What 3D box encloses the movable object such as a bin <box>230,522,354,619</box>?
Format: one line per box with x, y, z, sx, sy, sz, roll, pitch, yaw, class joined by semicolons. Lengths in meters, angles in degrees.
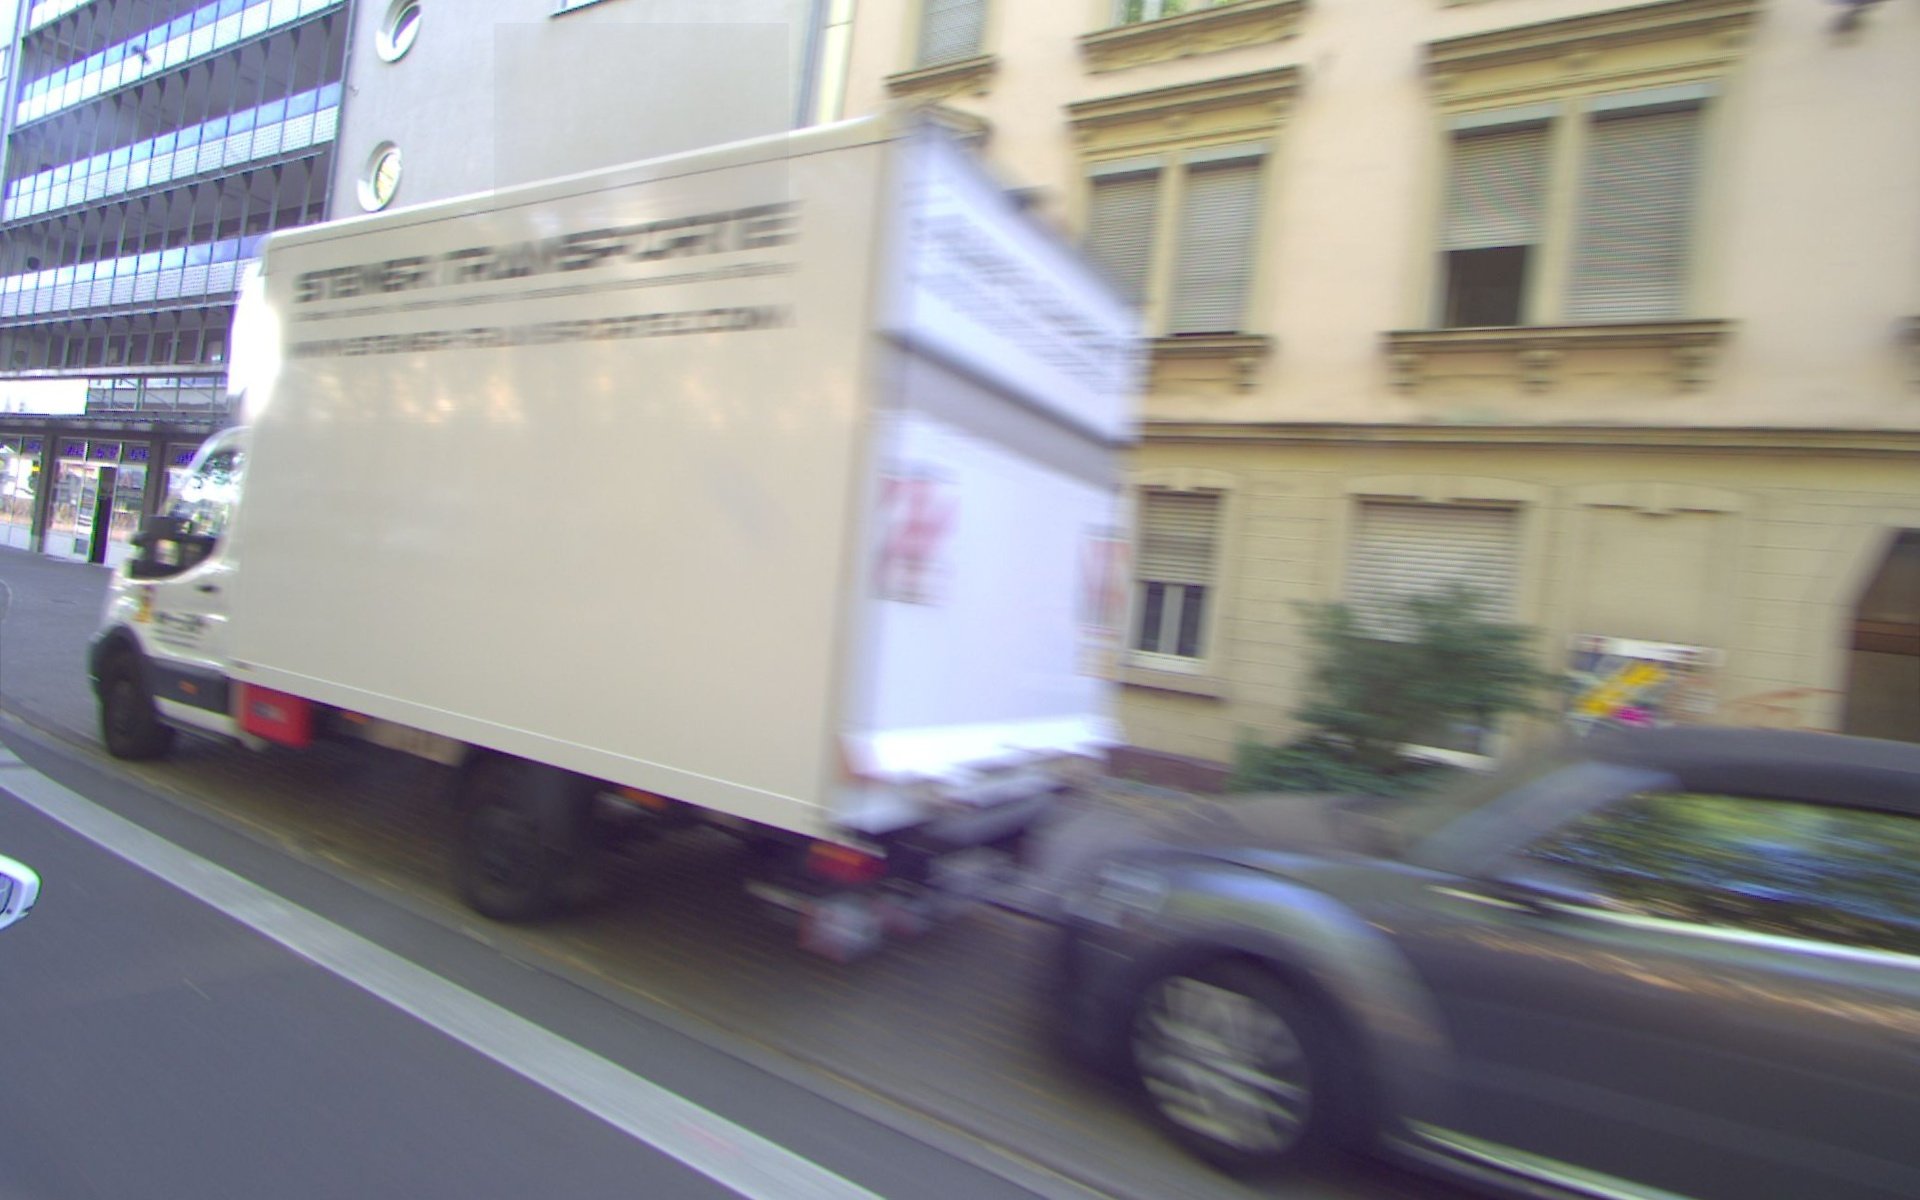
-11.790;-0.520;17.773;1.568;1.503;1.187;7;1;31;movable object such as a bin

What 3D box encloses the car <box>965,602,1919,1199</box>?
2.286;1.031;3.147;4.078;1.578;1.733;7;2;27;car

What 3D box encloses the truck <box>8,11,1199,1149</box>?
-2.600;-0.316;5.929;7.075;3.382;2.539;7;2;32;truck

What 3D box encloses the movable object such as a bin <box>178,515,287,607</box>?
-13.496;-0.721;18.676;1.364;1.503;1.111;7;1;31;movable object such as a bin
